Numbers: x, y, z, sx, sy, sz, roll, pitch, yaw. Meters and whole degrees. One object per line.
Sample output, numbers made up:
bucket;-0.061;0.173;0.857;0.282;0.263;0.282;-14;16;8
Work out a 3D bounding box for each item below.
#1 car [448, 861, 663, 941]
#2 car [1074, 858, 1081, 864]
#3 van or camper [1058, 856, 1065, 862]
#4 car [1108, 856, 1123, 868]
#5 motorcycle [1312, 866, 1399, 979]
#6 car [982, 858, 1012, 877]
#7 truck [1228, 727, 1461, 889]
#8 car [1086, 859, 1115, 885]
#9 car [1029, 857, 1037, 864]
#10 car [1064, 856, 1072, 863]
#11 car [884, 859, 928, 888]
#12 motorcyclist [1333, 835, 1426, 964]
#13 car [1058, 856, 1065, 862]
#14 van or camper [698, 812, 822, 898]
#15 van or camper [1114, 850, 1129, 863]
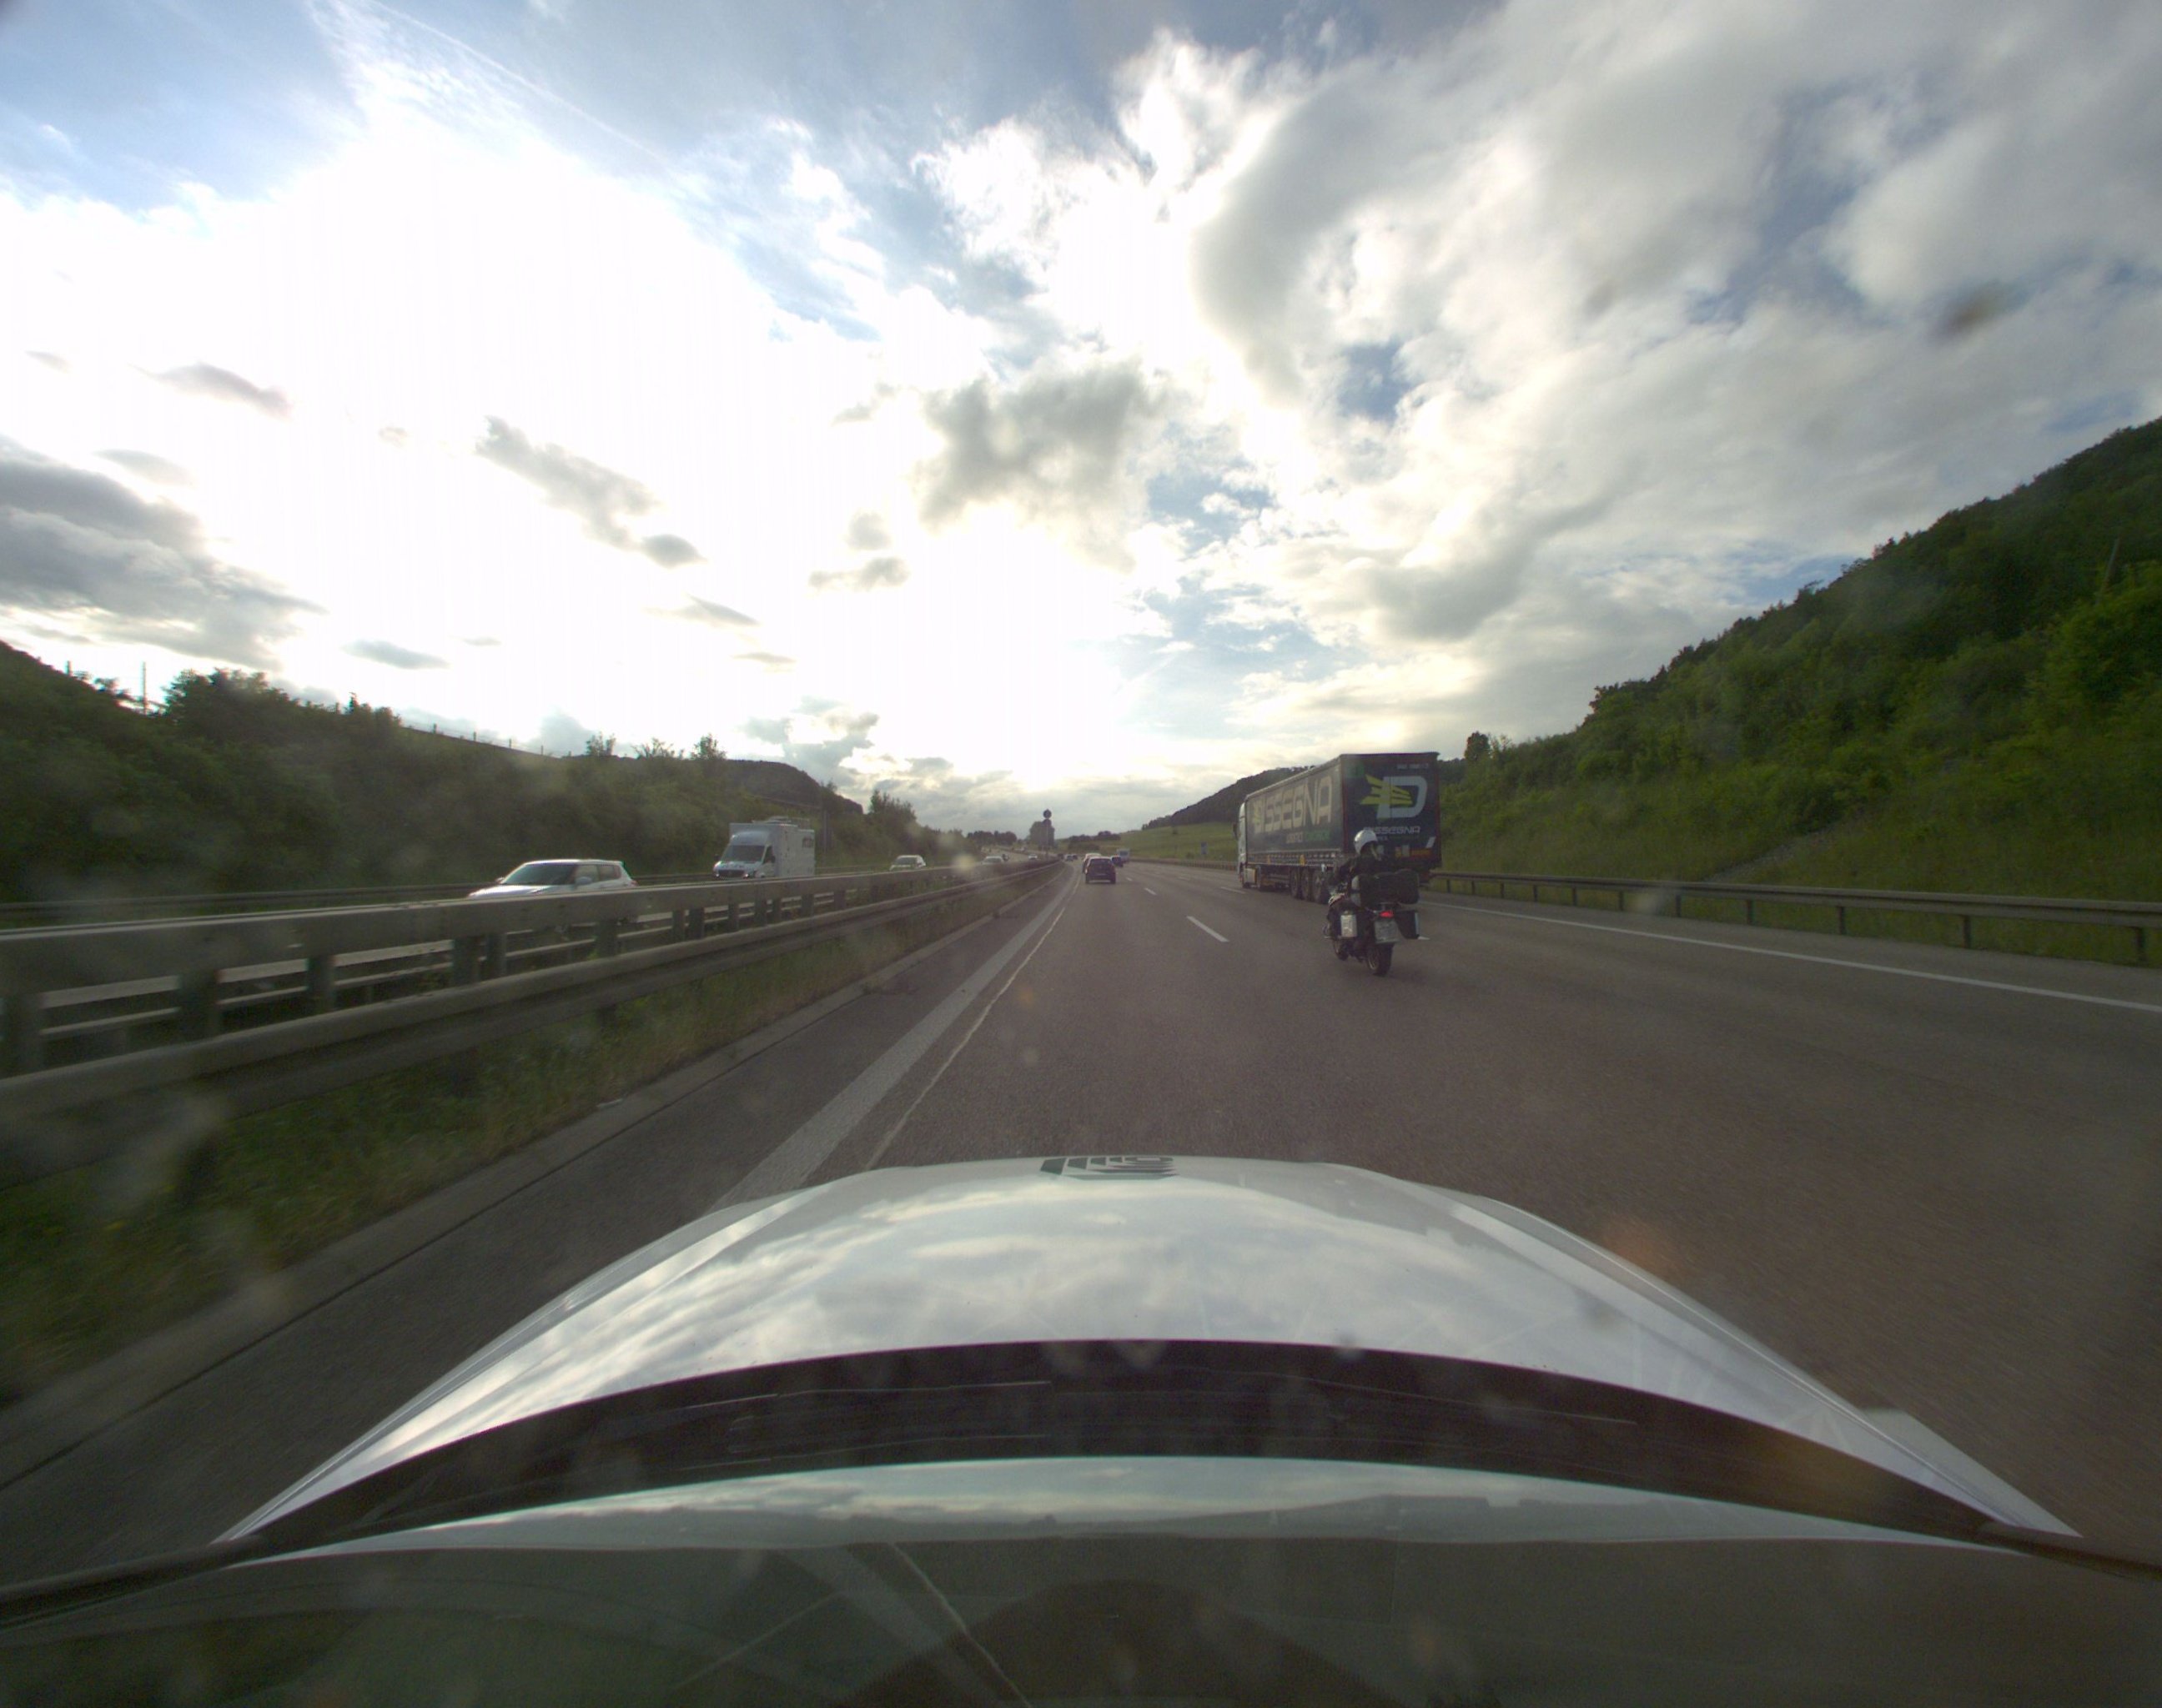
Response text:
car;-10.777;0.876;17.140;1.637;1.436;4.345;0;0;1
car;-0.933;2.000;223.050;1.950;1.574;4.001;-1;0;1
van or camper;-5.484;1.416;225.529;1.960;1.433;3.998;0;0;-1
car;4.272;0.949;101.611;1.761;1.433;3.999;0;0;0
motorcycle;3.520;0.827;10.573;0.624;1.339;1.740;0;-1;3
car;-6.523;0.999;63.252;1.773;1.409;3.764;-1;0;2
truck;8.161;-1.116;29.157;2.953;3.992;17.736;-1;0;1
car;1.111;0.986;45.272;1.532;1.348;3.679;-1;0;2
car;-11.580;1.549;195.571;1.828;1.591;5.015;0;0;-2
car;-2.974;1.278;186.408;1.763;1.433;3.994;-1;0;-4
car;-10.570;1.133;49.490;1.637;1.656;4.345;0;0;1
motorcyclist;3.620;0.535;9.941;0.873;1.515;0.798;0;-1;3
car;-5.476;1.409;226.859;1.765;1.433;3.991;-1;0;-6
van or camper;-14.565;0.049;37.746;2.473;3.551;7.978;-1;0;1
van or camper;7.151;0.402;144.411;2.538;2.239;5.332;-1;0;2
